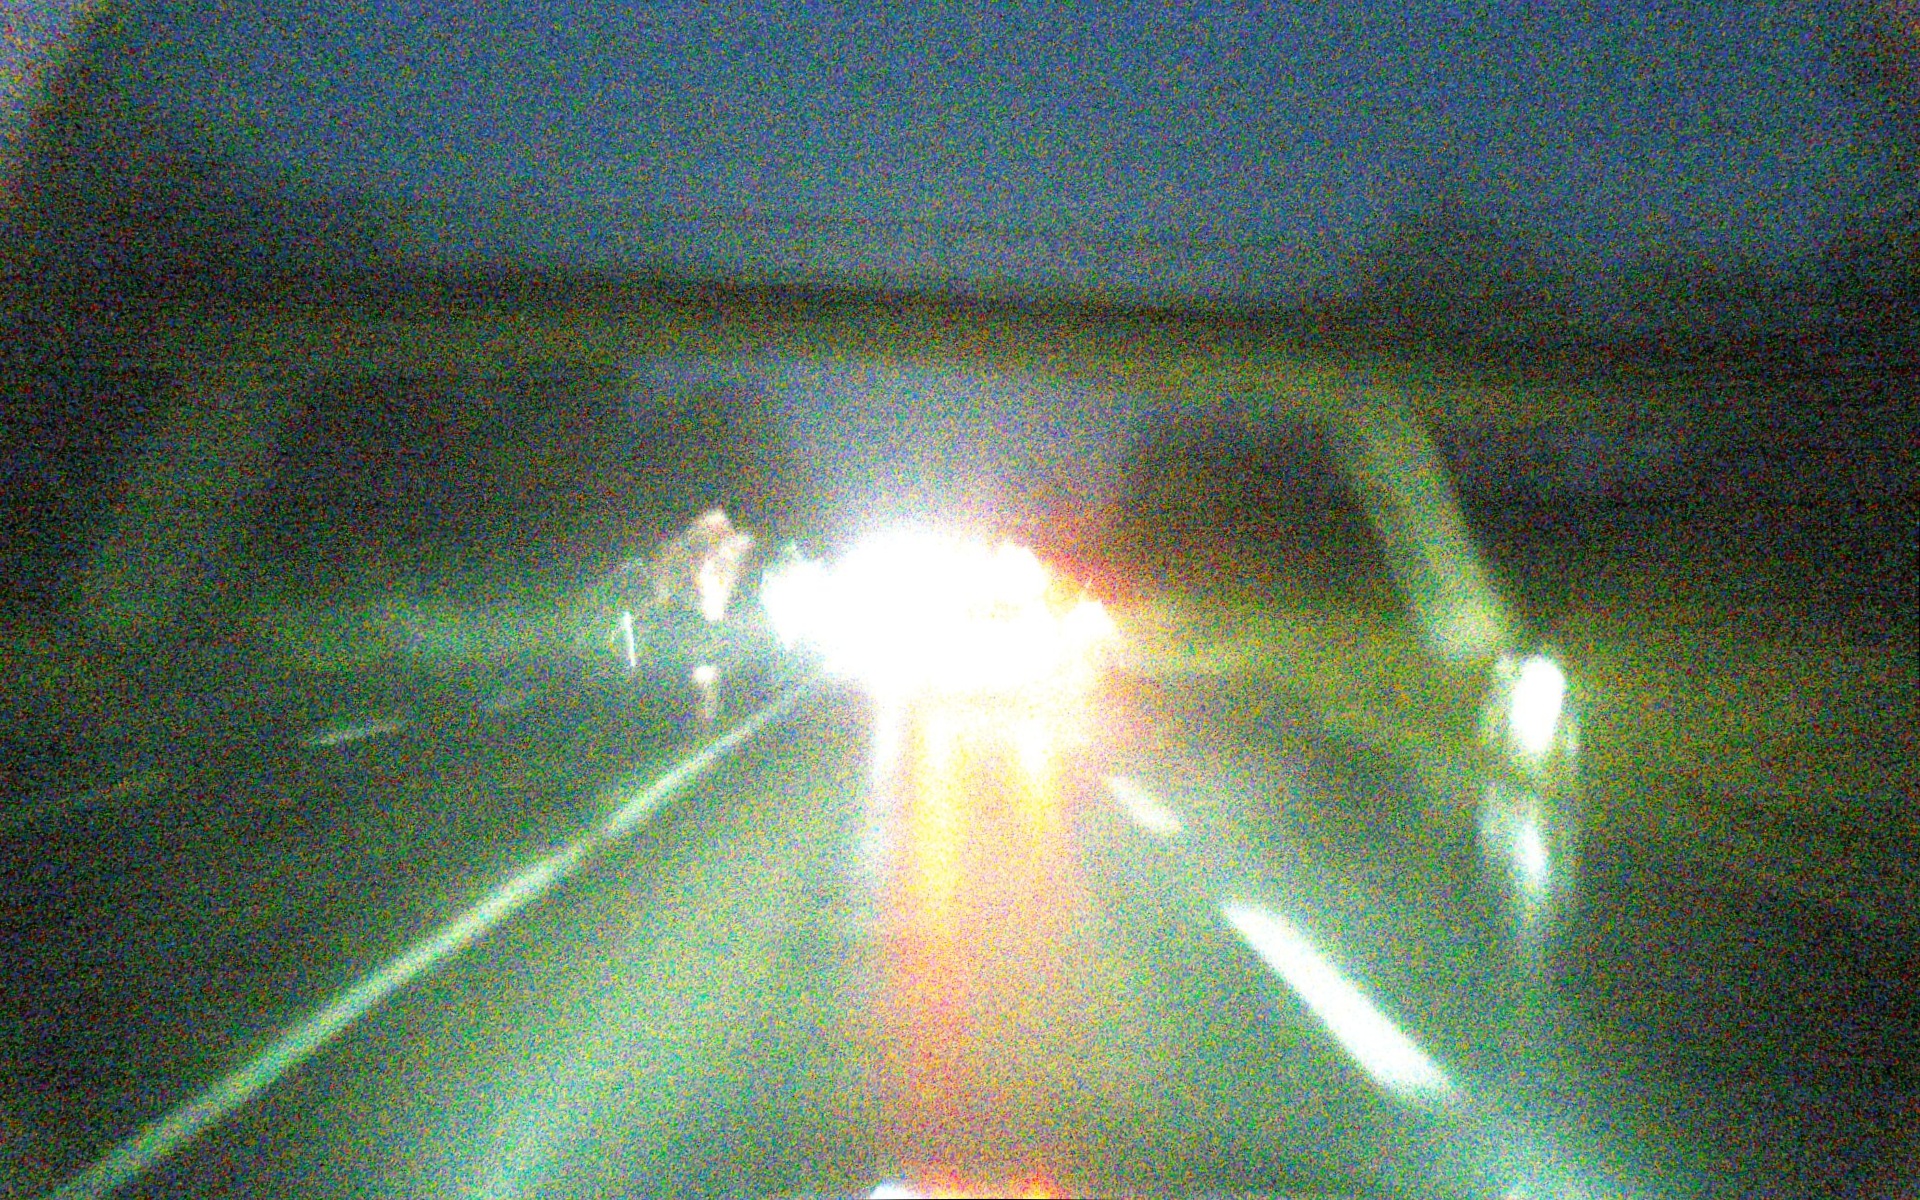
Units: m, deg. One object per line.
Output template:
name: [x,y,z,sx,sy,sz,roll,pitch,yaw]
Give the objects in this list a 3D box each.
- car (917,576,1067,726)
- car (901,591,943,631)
car: [0.404,0.696,24.933,2.051,2.049,3.999,1,0,-1]
car: [-1.650,0.462,72.315,1.772,1.650,3.999,1,0,-2]
